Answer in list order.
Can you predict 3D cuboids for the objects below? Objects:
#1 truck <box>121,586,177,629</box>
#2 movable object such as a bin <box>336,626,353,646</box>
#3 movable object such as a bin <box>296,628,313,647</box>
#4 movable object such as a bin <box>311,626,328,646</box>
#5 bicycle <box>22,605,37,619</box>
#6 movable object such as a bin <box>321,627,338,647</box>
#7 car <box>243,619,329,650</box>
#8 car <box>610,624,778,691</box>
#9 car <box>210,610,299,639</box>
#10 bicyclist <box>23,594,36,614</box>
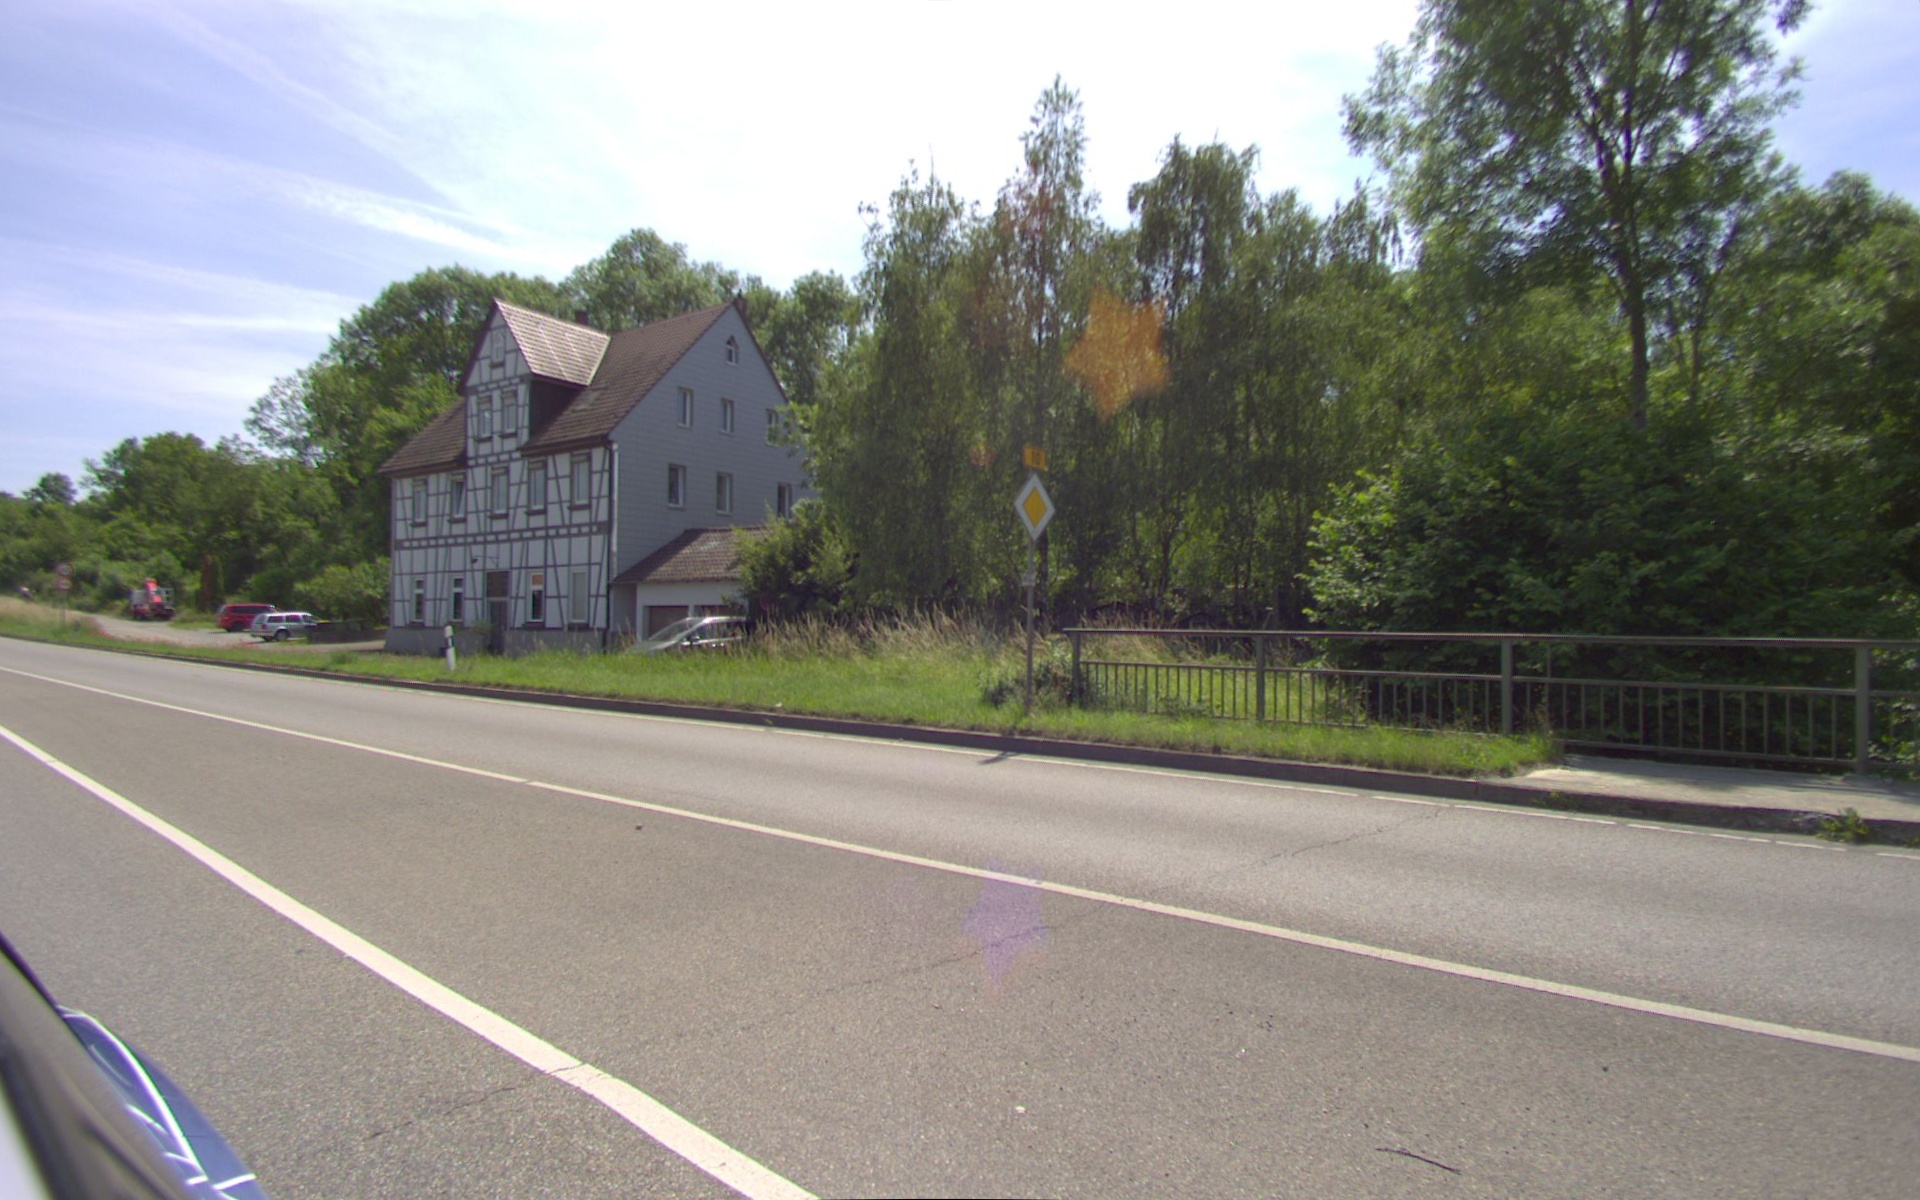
[{"bbox_3d":[-58.094,0.473,72.439,6.770,2.986,2.005,1,1,41],"label":"truck"},{"bbox_3d":[-31.702,1.872,52.134,0.653,0.983,0.499,1,0,32],"label":"movable object such as a bin"},{"bbox_3d":[-32.814,1.880,50.683,0.653,0.943,0.499,1,0,32],"label":"movable object such as a bin"},{"bbox_3d":[-32.362,1.833,51.143,0.653,0.977,0.499,1,0,32],"label":"movable object such as a bin"},{"bbox_3d":[-81.936,1.011,89.108,2.105,1.189,0.740,1,1,43],"label":"bicycle"},{"bbox_3d":[-32.156,1.882,51.643,0.653,0.978,0.499,1,0,32],"label":"movable object such as a bin"},{"bbox_3d":[-34.802,1.733,52.292,1.606,1.476,3.349,0,0,34],"label":"car"},{"bbox_3d":[-7.694,1.627,29.641,1.858,1.733,4.622,-3,-2,36],"label":"car"},{"bbox_3d":[-41.585,1.418,59.736,1.832,1.631,3.985,0,0,41],"label":"car"},{"bbox_3d":[-81.993,0.345,89.146,0.936,1.727,0.740,0,1,42],"label":"bicyclist"}]
